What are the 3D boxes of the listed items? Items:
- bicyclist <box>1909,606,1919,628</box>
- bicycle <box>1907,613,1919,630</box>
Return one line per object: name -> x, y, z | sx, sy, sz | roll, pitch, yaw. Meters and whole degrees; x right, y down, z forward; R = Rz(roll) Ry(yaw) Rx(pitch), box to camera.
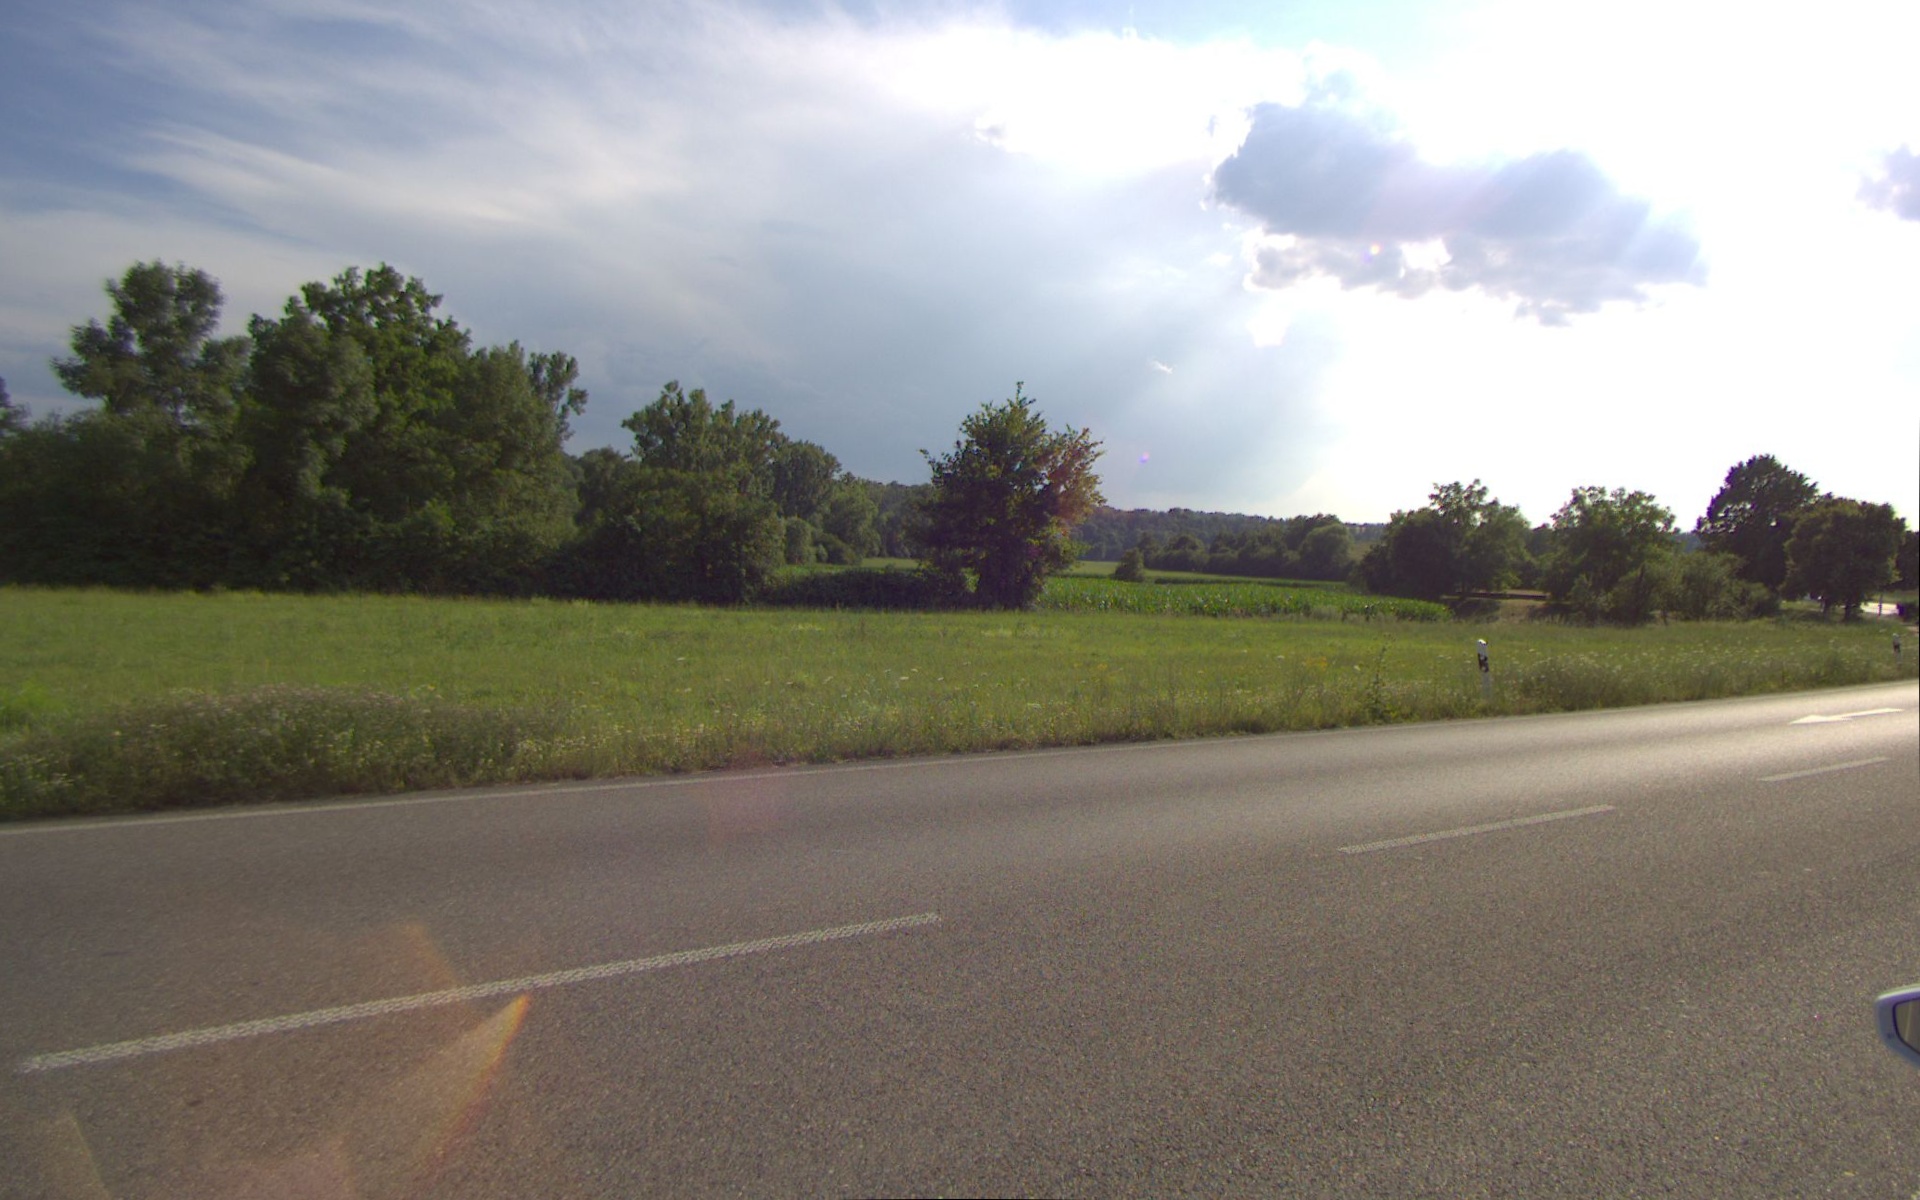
bicyclist -> 64.231, 1.170, 67.412 | 0.685, 1.439, 0.630 | 1, 2, -38
bicycle -> 64.228, 1.466, 67.428 | 1.656, 1.089, 0.630 | 1, 2, -39
